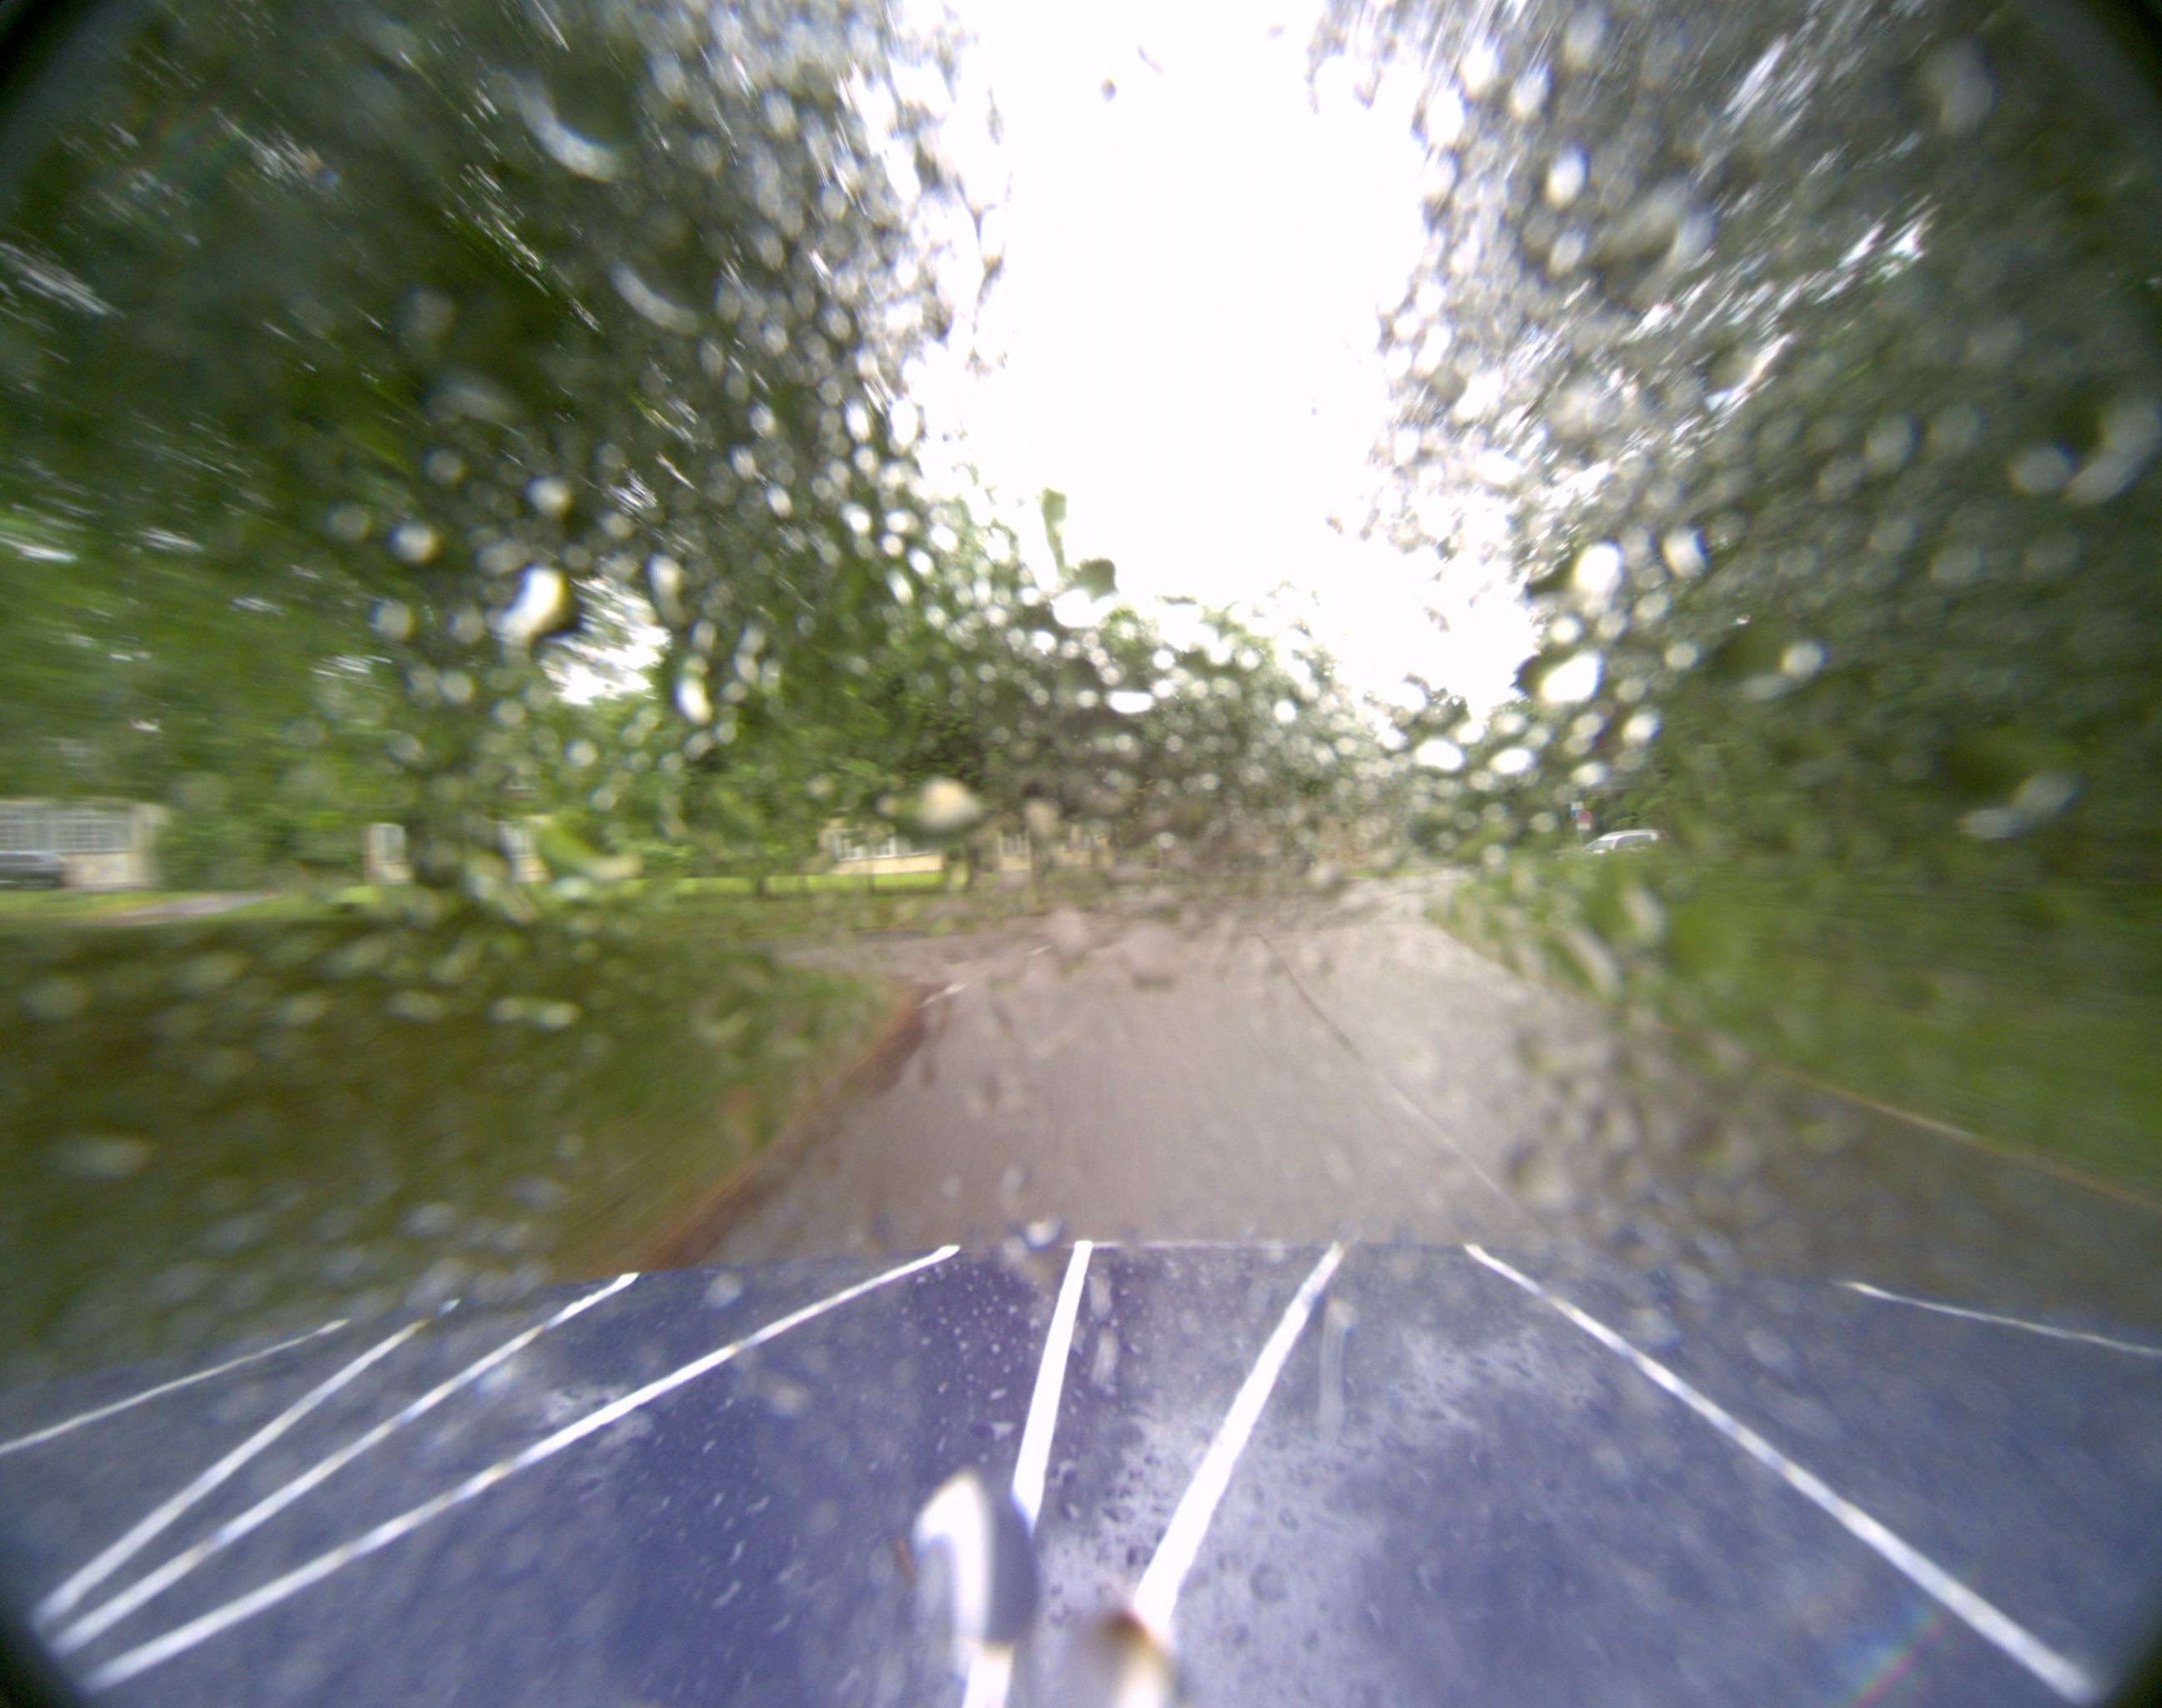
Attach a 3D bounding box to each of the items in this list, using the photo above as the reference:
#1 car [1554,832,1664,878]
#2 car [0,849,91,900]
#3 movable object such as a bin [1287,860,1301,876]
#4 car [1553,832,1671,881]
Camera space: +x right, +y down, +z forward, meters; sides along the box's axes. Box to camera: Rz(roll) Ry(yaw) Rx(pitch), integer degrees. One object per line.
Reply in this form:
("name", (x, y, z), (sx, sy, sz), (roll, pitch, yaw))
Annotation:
("car", (24.595, 0.048, 35.451), (3.988, 2.002, 2.004), (0, 0, 43))
("car", (-40.539, 0.818, 28.116), (1.995, 1.824, 4.575), (-3, -1, 41))
("movable object such as a bin", (13.223, 0.840, 47.199), (0.631, 0.948, 0.762), (-3, 0, 28))
("car", (23.044, 0.100, 33.037), (3.988, 2.002, 2.004), (0, 0, 43))
